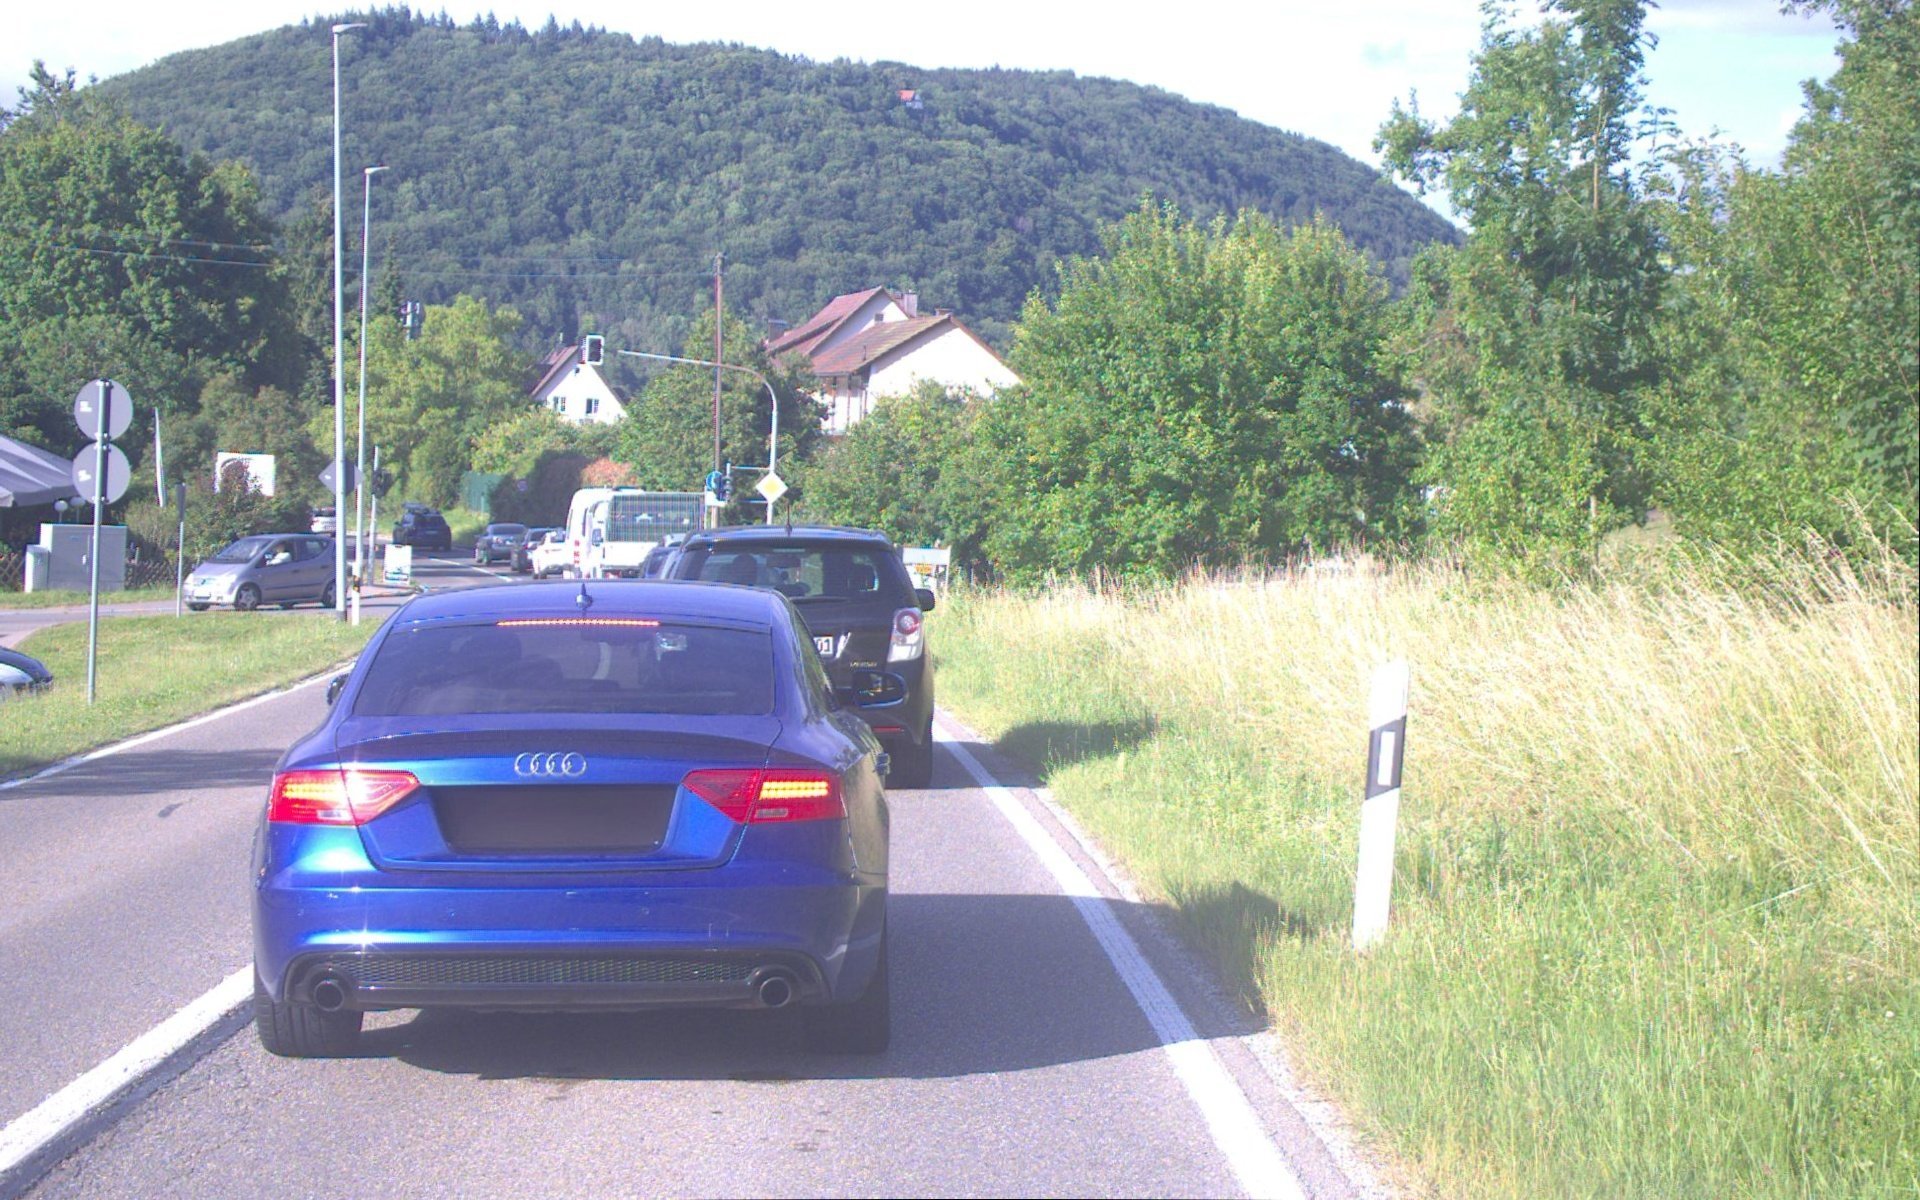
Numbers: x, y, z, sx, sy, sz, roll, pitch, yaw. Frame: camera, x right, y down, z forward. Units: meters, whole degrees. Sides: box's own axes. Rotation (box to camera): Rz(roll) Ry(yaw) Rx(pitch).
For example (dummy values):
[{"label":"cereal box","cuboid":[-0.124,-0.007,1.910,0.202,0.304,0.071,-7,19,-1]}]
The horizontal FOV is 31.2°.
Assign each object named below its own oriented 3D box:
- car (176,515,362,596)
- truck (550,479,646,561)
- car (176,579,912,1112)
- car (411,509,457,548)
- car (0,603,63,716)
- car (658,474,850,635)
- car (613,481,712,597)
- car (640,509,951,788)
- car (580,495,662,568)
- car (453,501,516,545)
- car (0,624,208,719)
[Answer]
[{"label":"car","cuboid":[-14.550,-0.935,72.508,1.739,1.656,3.462,1,0,43]},{"label":"truck","cuboid":[-9.045,-1.957,85.541,1.697,1.947,5.924,1,0,-13]},{"label":"car","cuboid":[-1.114,0.629,10.954,1.795,1.383,4.000,0,0,1]},{"label":"car","cuboid":[-22.030,-2.992,143.873,1.625,1.571,3.680,1,0,-13]},{"label":"car","cuboid":[-14.989,0.767,47.207,4.815,1.488,1.880,1,0,9]},{"label":"car","cuboid":[-2.178,-0.482,37.425,1.804,1.634,4.463,1,0,0]},{"label":"car","cuboid":[-5.875,-1.173,67.595,1.746,2.188,4.001,1,0,-7]},{"label":"car","cuboid":[-0.978,0.273,22.353,1.746,1.634,4.000,1,0,1]},{"label":"car","cuboid":[-7.931,-1.564,80.180,1.746,1.634,4.001,1,0,-7]},{"label":"car","cuboid":[-16.911,-2.719,122.209,1.697,1.485,3.528,1,0,-16]},{"label":"car","cuboid":[-13.247,1.026,50.391,3.987,1.306,1.760,1,0,5]}]
